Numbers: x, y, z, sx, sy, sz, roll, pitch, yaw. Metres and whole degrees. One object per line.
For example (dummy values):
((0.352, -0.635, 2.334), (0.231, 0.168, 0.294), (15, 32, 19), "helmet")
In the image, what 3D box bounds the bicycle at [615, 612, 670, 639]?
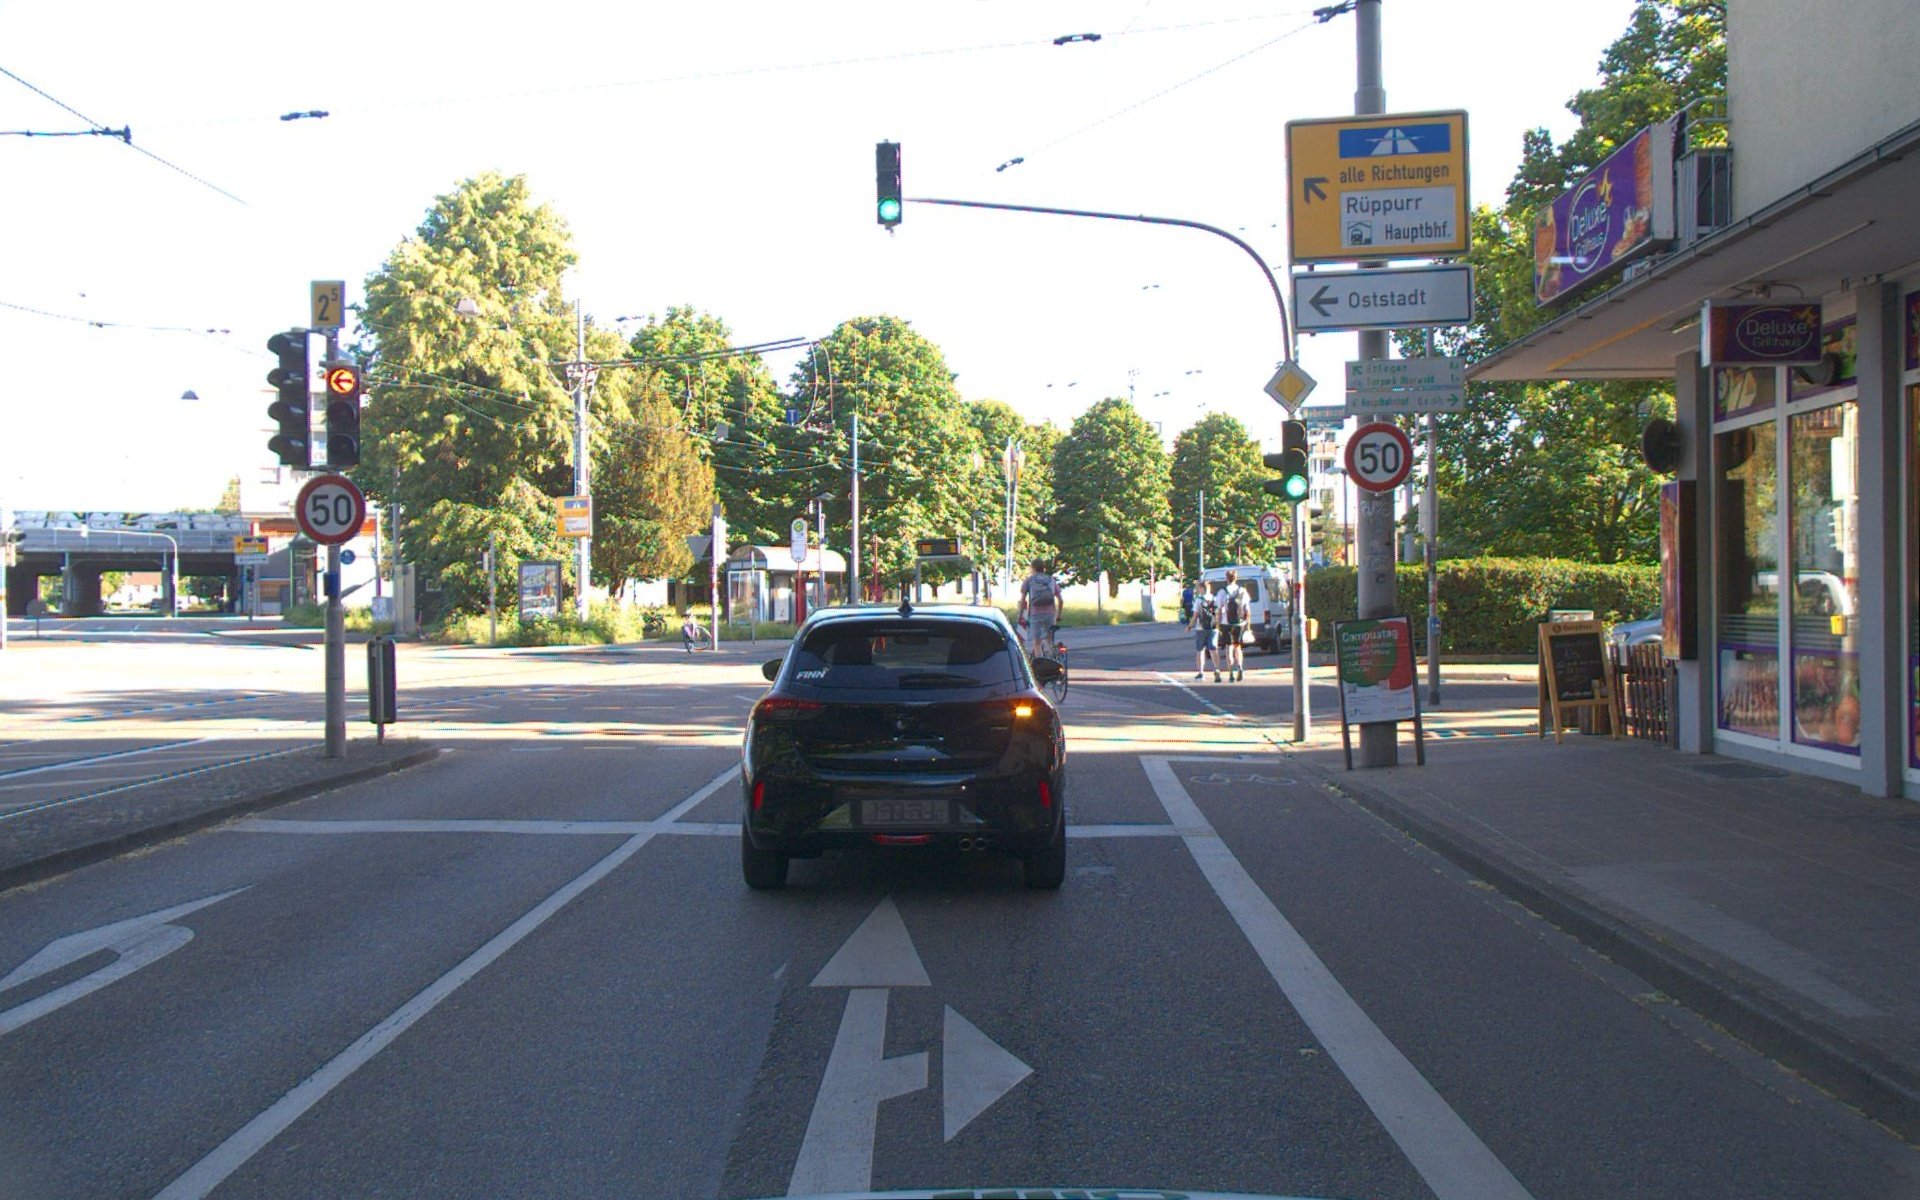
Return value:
((-11.485, 0.923, 59.881), (1.837, 0.922, 0.660), (-1, 0, 5), "bicycle")

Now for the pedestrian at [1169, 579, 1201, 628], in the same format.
((8.560, 0.131, 62.935), (0.939, 1.824, 0.995), (-1, 0, 24), "pedestrian")

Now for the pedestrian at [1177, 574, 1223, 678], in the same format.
((4.243, 0.453, 29.278), (0.684, 1.823, 0.617), (-1, 0, -2), "pedestrian")

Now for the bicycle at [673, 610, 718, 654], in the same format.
((-6.834, 0.818, 42.807), (0.808, 1.078, 1.883), (-1, 0, 1), "bicycle")

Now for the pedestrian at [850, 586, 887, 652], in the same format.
((-2.421, 0.502, 43.607), (0.711, 1.722, 0.700), (-1, 0, 27), "pedestrian")

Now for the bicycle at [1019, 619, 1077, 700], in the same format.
((1.247, 0.828, 23.704), (0.654, 1.078, 2.081), (-1, 0, -2), "bicycle")

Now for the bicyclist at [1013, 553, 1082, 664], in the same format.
((1.239, 0.113, 23.720), (0.823, 1.536, 1.368), (-1, 0, -3), "bicyclist")

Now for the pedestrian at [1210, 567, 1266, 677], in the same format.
((4.826, 0.377, 28.703), (0.691, 1.878, 0.697), (-1, 0, 38), "pedestrian")

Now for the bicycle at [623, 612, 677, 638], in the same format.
((-11.418, 0.914, 60.868), (1.837, 0.922, 0.660), (-1, 0, 5), "bicycle")

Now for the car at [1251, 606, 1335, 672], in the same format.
((9.789, 1.110, 48.402), (1.763, 1.794, 3.891), (-1, 0, 21), "car")

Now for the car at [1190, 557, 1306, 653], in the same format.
((7.482, 0.149, 42.624), (2.047, 2.317, 4.305), (0, -1, 22), "car")

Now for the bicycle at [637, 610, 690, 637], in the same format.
((-11.254, 0.889, 62.715), (1.837, 0.922, 0.660), (-2, 0, 5), "bicycle")

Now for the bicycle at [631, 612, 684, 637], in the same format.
((-11.296, 0.909, 61.742), (1.837, 0.922, 0.660), (-1, 0, 5), "bicycle")

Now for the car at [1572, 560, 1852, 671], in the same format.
((13.172, 0.312, 29.190), (4.087, 1.846, 1.807), (-1, -3, 7), "car")

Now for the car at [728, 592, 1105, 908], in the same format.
((-0.207, 0.702, 9.780), (1.763, 1.466, 3.939), (-1, 0, 0), "car")
